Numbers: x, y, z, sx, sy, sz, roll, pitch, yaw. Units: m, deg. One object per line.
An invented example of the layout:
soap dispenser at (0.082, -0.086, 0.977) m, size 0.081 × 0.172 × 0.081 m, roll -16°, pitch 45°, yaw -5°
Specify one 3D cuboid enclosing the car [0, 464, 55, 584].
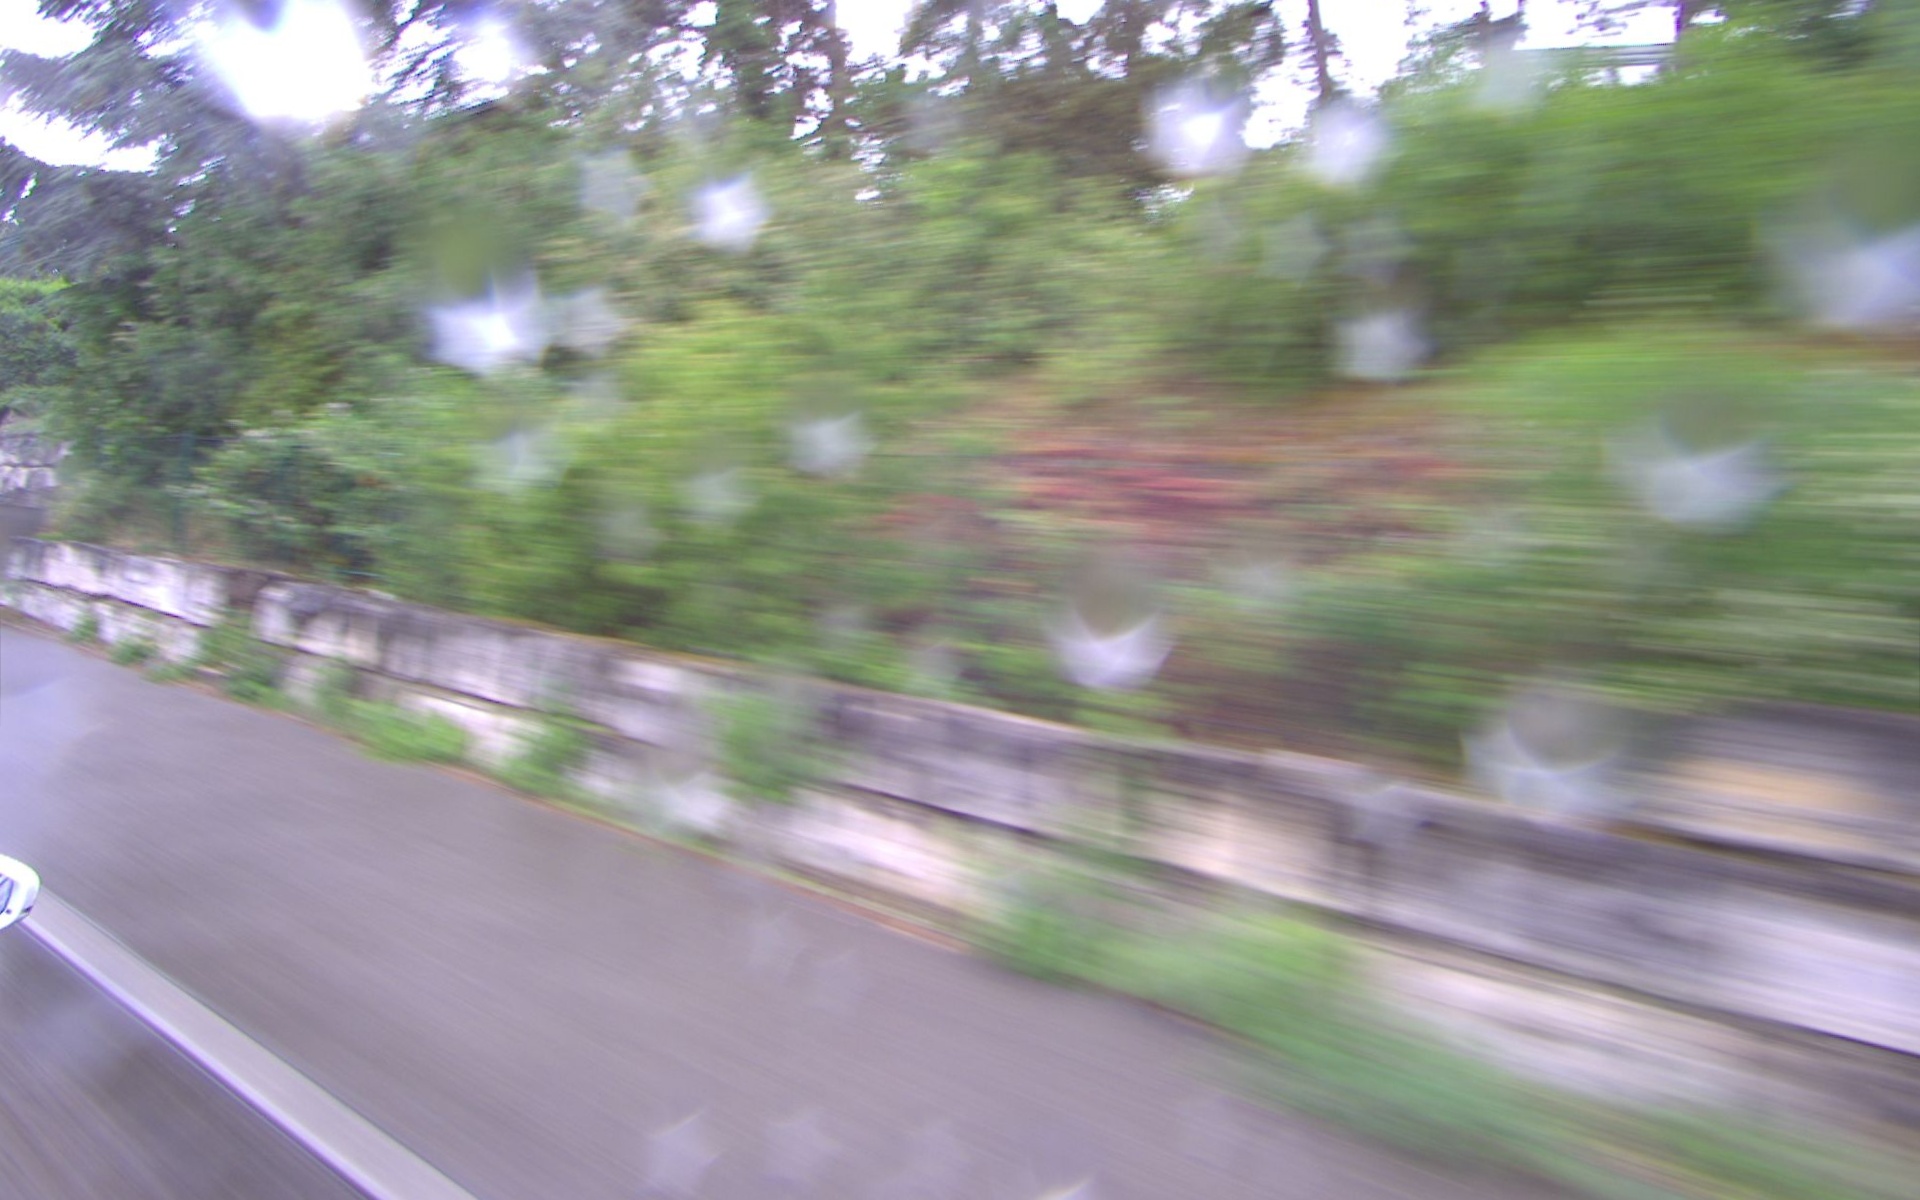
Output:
car at (-15.872, -1.325, 15.141) m, size 4.466 × 1.692 × 1.995 m, roll 7°, pitch 2°, yaw 29°
